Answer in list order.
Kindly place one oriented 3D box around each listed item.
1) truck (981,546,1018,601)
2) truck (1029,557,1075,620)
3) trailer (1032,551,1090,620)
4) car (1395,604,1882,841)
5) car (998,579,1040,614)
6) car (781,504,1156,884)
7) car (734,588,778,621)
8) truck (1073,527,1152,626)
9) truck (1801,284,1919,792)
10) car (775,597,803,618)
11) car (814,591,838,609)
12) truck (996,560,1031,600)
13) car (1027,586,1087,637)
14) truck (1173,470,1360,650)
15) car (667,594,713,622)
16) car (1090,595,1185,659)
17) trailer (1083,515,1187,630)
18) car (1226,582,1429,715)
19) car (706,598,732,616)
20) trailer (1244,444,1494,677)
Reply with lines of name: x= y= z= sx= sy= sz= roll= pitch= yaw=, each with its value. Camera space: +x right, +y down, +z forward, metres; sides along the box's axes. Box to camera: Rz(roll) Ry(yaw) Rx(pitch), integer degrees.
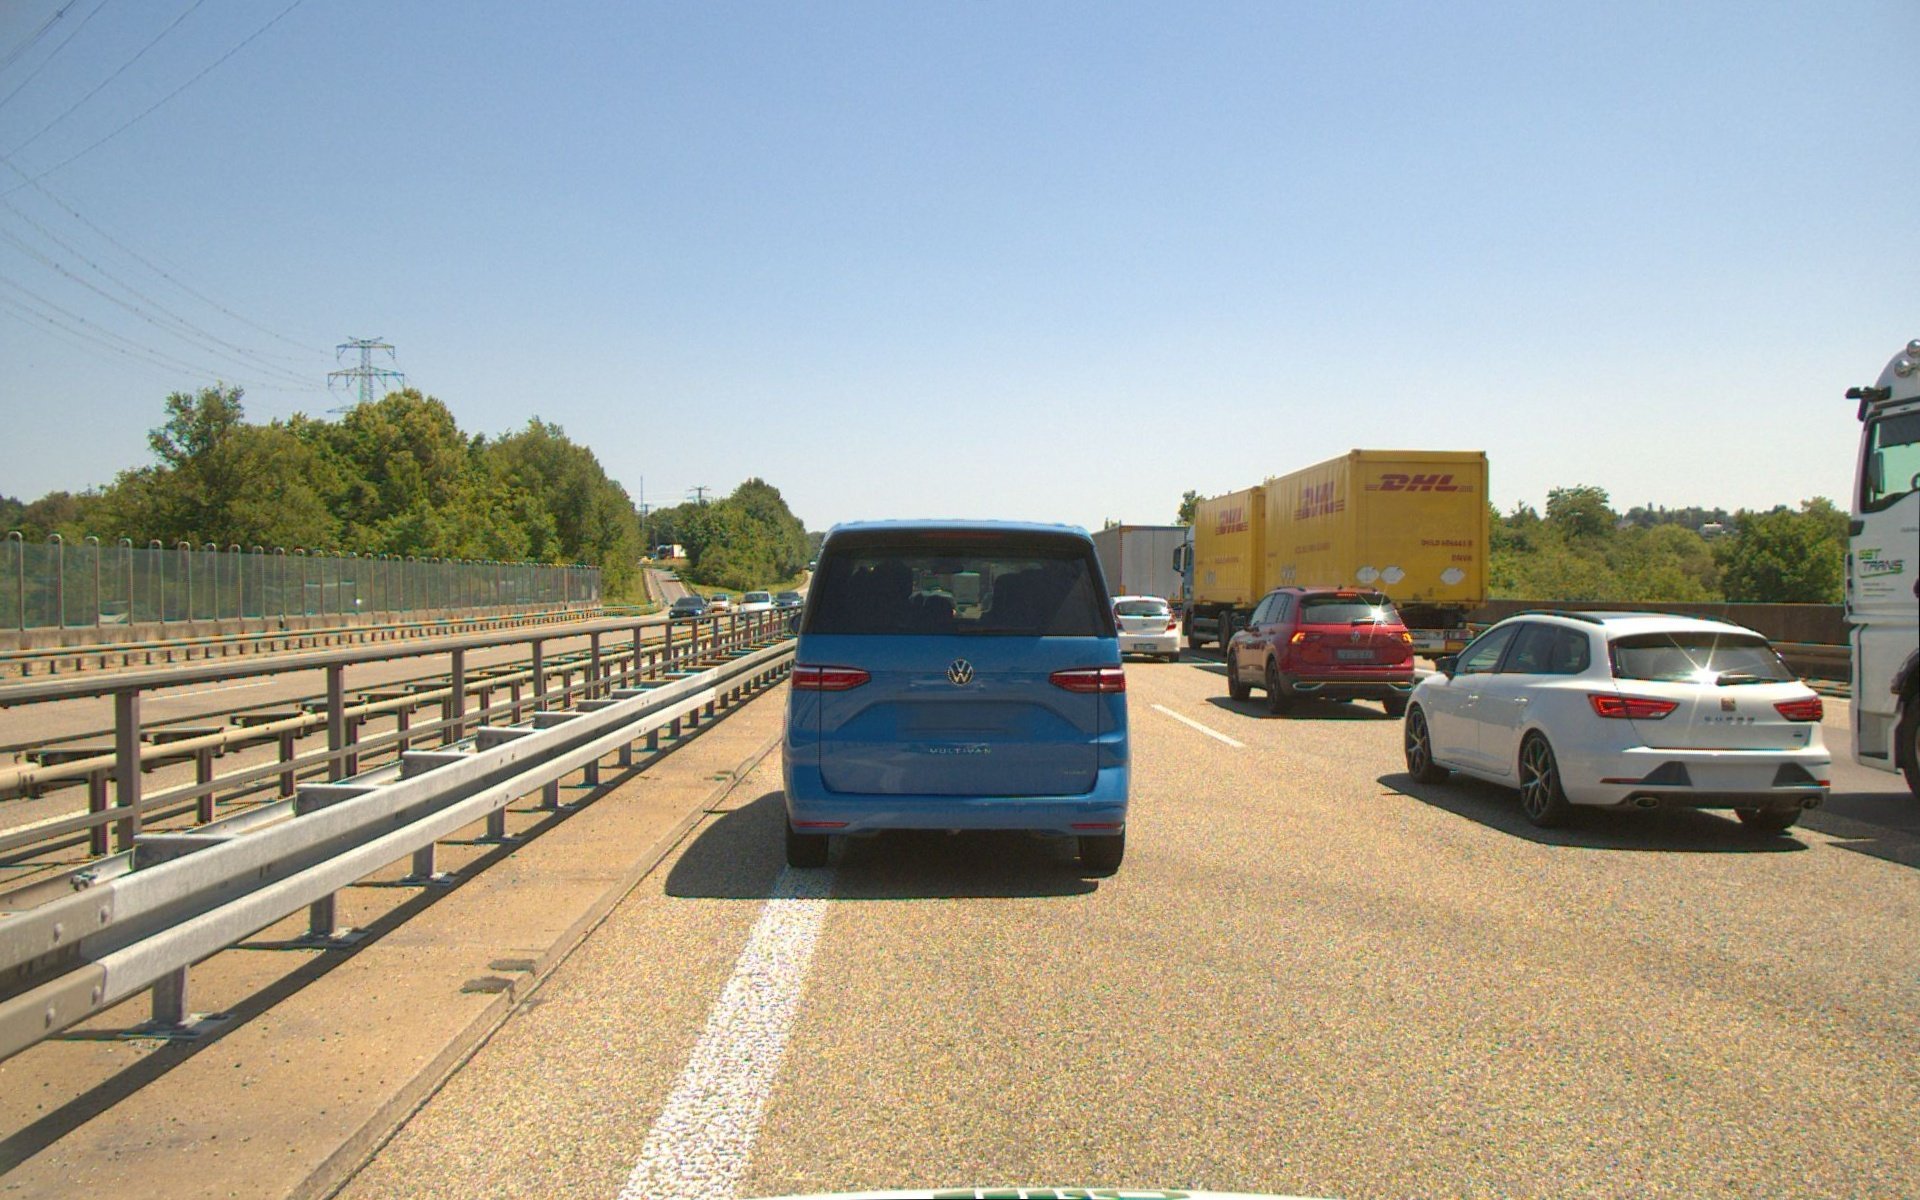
truck: x=3.849 y=-2.530 z=164.194 sx=2.777 sy=5.128 sz=11.139 roll=1 pitch=0 yaw=-3
truck: x=5.710 y=-0.668 z=103.488 sx=2.320 sy=3.787 sz=6.031 roll=1 pitch=0 yaw=-2
trailer: x=5.864 y=-0.760 z=97.548 sx=2.331 sy=3.809 sz=11.184 roll=1 pitch=0 yaw=-2
car: x=4.696 y=0.754 z=12.181 sx=1.745 sy=1.411 sz=4.186 roll=0 pitch=0 yaw=-2
car: x=2.701 y=-0.168 z=76.172 sx=1.680 sy=1.567 sz=3.820 roll=-1 pitch=0 yaw=-1
car: x=0.004 y=0.460 z=10.174 sx=1.844 sy=1.869 sz=3.999 roll=0 pitch=0 yaw=-1
car: x=-10.124 y=0.217 z=82.227 sx=1.803 sy=1.556 sz=3.557 roll=-1 pitch=0 yaw=-1
truck: x=6.766 y=-0.988 z=74.154 sx=2.712 sy=4.167 sz=6.982 roll=1 pitch=0 yaw=-1
truck: x=8.455 y=-0.364 z=8.132 sx=2.793 sy=3.665 sz=10.765 roll=1 pitch=1 yaw=-2
car: x=-11.313 y=0.480 z=109.507 sx=1.551 sy=1.321 sz=3.890 roll=-1 pitch=0 yaw=-2
car: x=-11.486 y=0.024 z=142.080 sx=1.805 sy=1.472 sz=4.417 roll=1 pitch=0 yaw=-1
truck: x=4.621 y=-1.723 z=144.632 sx=2.308 sy=3.275 sz=9.735 roll=1 pitch=0 yaw=-3
car: x=3.144 y=0.406 z=54.264 sx=1.680 sy=1.614 sz=3.819 roll=0 pitch=-1 yaw=-1
truck: x=7.778 y=-0.906 z=43.497 sx=2.667 sy=4.125 sz=10.332 roll=1 pitch=0 yaw=-2
car: x=-14.066 y=0.403 z=86.396 sx=1.764 sy=1.410 sz=4.262 roll=1 pitch=0 yaw=-1
car: x=4.156 y=0.598 z=39.242 sx=1.801 sy=1.438 sz=4.000 roll=0 pitch=0 yaw=0
trailer: x=6.926 y=-1.002 z=67.183 sx=2.699 sy=4.219 sz=11.308 roll=1 pitch=0 yaw=-1
car: x=4.896 y=0.590 z=22.585 sx=1.813 sy=1.636 sz=3.999 roll=0 pitch=0 yaw=-1
car: x=-19.574 y=0.547 z=134.402 sx=1.572 sy=1.418 sz=3.675 roll=-1 pitch=0 yaw=-1
trailer: x=8.041 y=-0.671 z=33.863 sx=2.647 sy=4.094 sz=8.927 roll=1 pitch=0 yaw=-2
